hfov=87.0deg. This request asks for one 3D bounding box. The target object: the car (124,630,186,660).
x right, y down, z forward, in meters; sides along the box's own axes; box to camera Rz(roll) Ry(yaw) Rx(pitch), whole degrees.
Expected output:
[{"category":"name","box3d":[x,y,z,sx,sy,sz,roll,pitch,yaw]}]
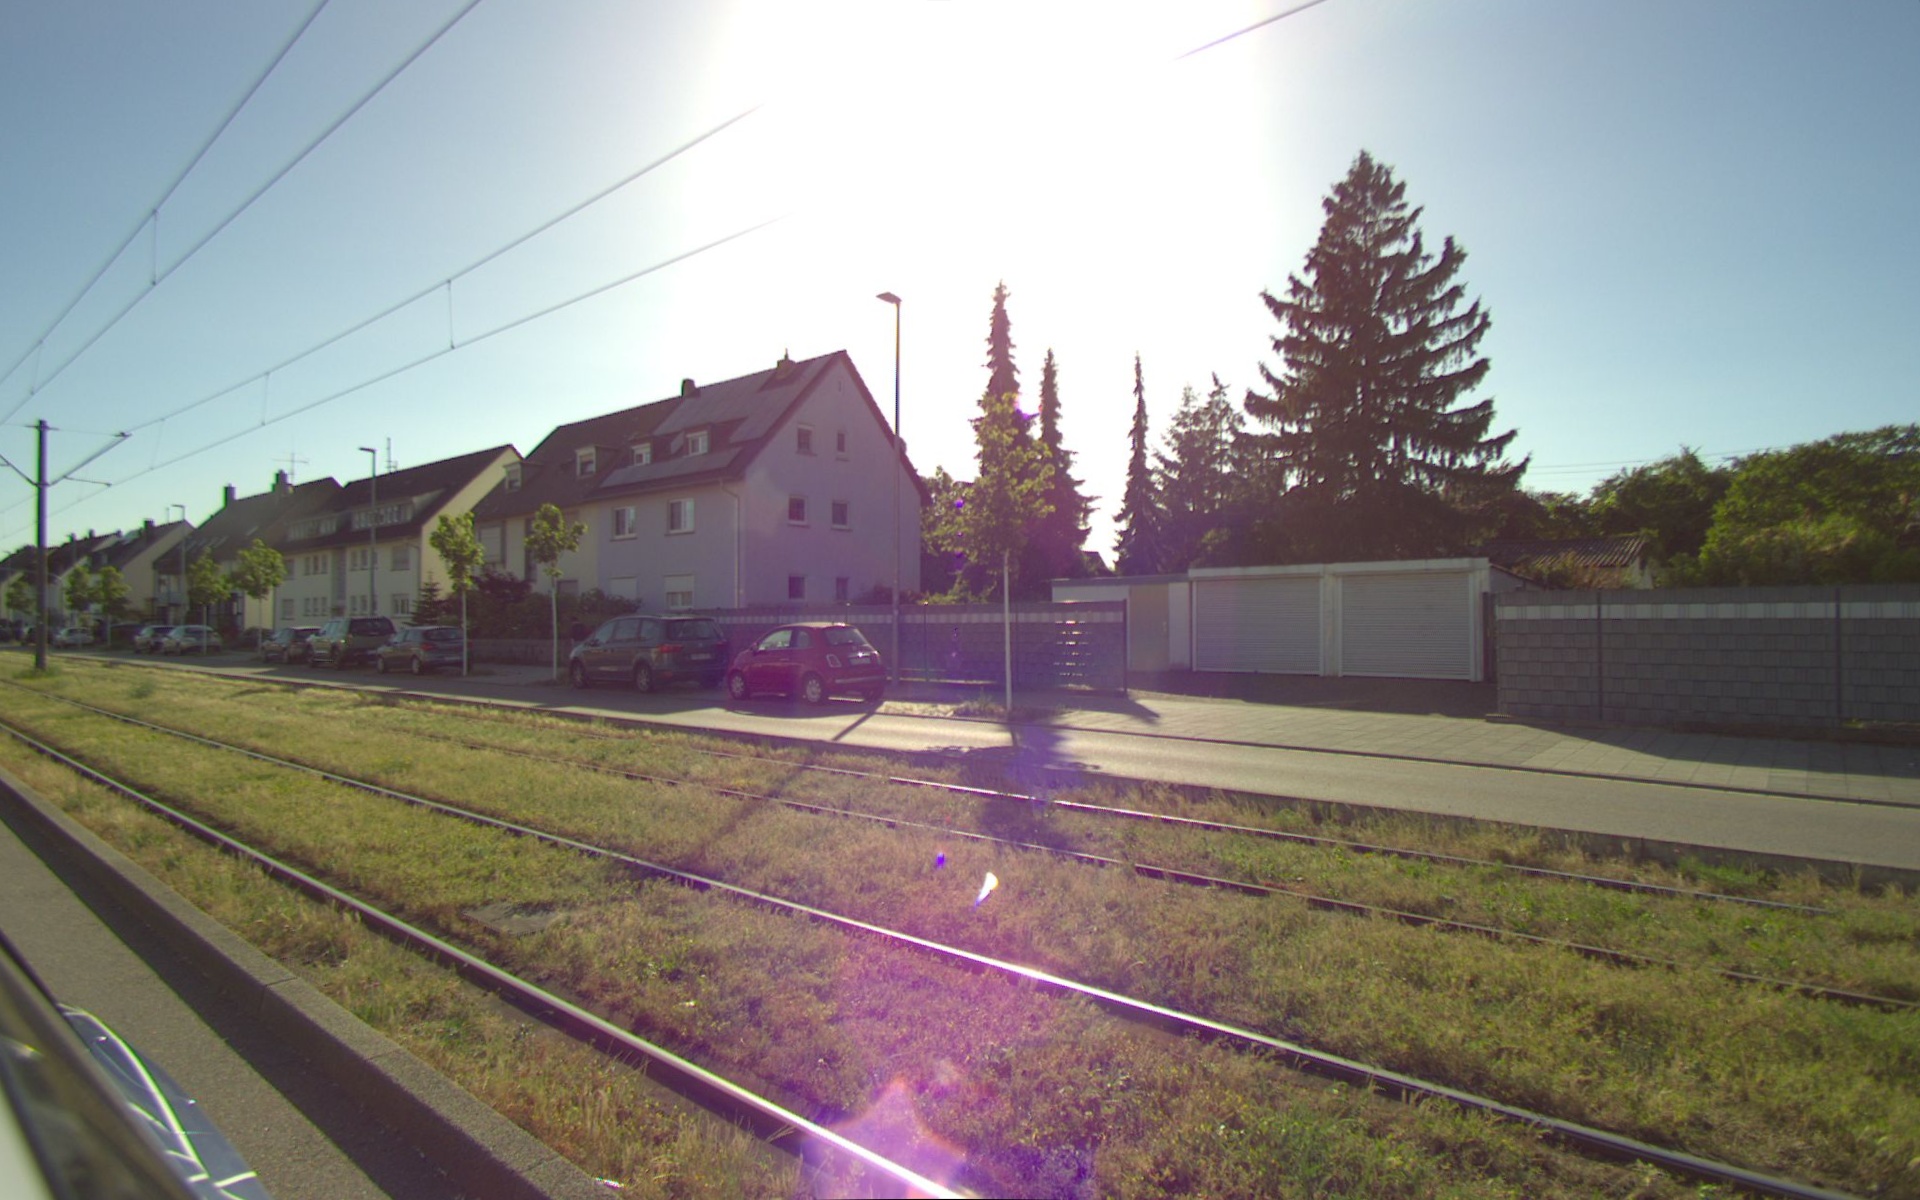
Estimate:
[{"category":"car","box3d":[-43.333,2.412,54.446,4.310,1.484,1.672,-1,0,39]}]

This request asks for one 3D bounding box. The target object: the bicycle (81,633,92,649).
[{"category":"bicycle","box3d":[-64.797,3.042,75.097,0.471,1.172,1.872,-1,0,-45]}]

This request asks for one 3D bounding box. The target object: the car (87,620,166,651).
[{"category":"car","box3d":[-64.533,2.740,78.393,1.786,2.096,4.416,-1,2,40]}]

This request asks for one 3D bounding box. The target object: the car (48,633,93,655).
[{"category":"car","box3d":[-60.840,2.969,69.179,4.098,1.447,1.642,-2,-1,39]}]

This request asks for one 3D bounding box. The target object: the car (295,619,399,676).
[{"category":"car","box3d":[-21.727,1.648,35.774,4.838,1.837,1.727,-1,0,41]}]

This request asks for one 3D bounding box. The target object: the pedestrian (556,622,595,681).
[{"category":"pedestrian","box3d":[-11.107,1.482,29.236,0.919,1.652,0.689,-1,0,39]}]

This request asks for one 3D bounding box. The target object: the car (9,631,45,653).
[{"category":"car","box3d":[-71.112,3.181,77.120,4.082,1.523,1.602,-2,-1,41]}]

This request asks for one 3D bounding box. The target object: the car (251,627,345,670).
[{"category":"car","box3d":[-26.235,1.870,40.058,4.553,1.552,1.940,-1,0,40]}]

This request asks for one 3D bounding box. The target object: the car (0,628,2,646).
[{"category":"car","box3d":[-87.650,3.332,90.751,4.852,1.572,1.902,-1,0,38]}]

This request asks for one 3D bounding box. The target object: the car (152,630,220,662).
[{"category":"car","box3d":[-38.693,2.266,50.543,4.438,1.486,1.672,-1,0,39]}]

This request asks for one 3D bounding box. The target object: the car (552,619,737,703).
[{"category":"car","box3d":[-7.343,1.330,23.293,4.843,1.697,1.800,-1,0,41]}]

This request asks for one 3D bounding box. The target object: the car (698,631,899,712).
[{"category":"car","box3d":[-3.221,1.324,19.766,4.077,1.415,1.677,-2,-2,41]}]

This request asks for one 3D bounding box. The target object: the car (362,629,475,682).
[{"category":"car","box3d":[-17.092,1.712,31.888,4.045,1.502,1.660,-1,0,39]}]

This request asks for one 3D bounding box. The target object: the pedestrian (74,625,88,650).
[{"category":"pedestrian","box3d":[-64.894,2.750,74.735,0.676,1.829,0.611,-1,0,31]}]
